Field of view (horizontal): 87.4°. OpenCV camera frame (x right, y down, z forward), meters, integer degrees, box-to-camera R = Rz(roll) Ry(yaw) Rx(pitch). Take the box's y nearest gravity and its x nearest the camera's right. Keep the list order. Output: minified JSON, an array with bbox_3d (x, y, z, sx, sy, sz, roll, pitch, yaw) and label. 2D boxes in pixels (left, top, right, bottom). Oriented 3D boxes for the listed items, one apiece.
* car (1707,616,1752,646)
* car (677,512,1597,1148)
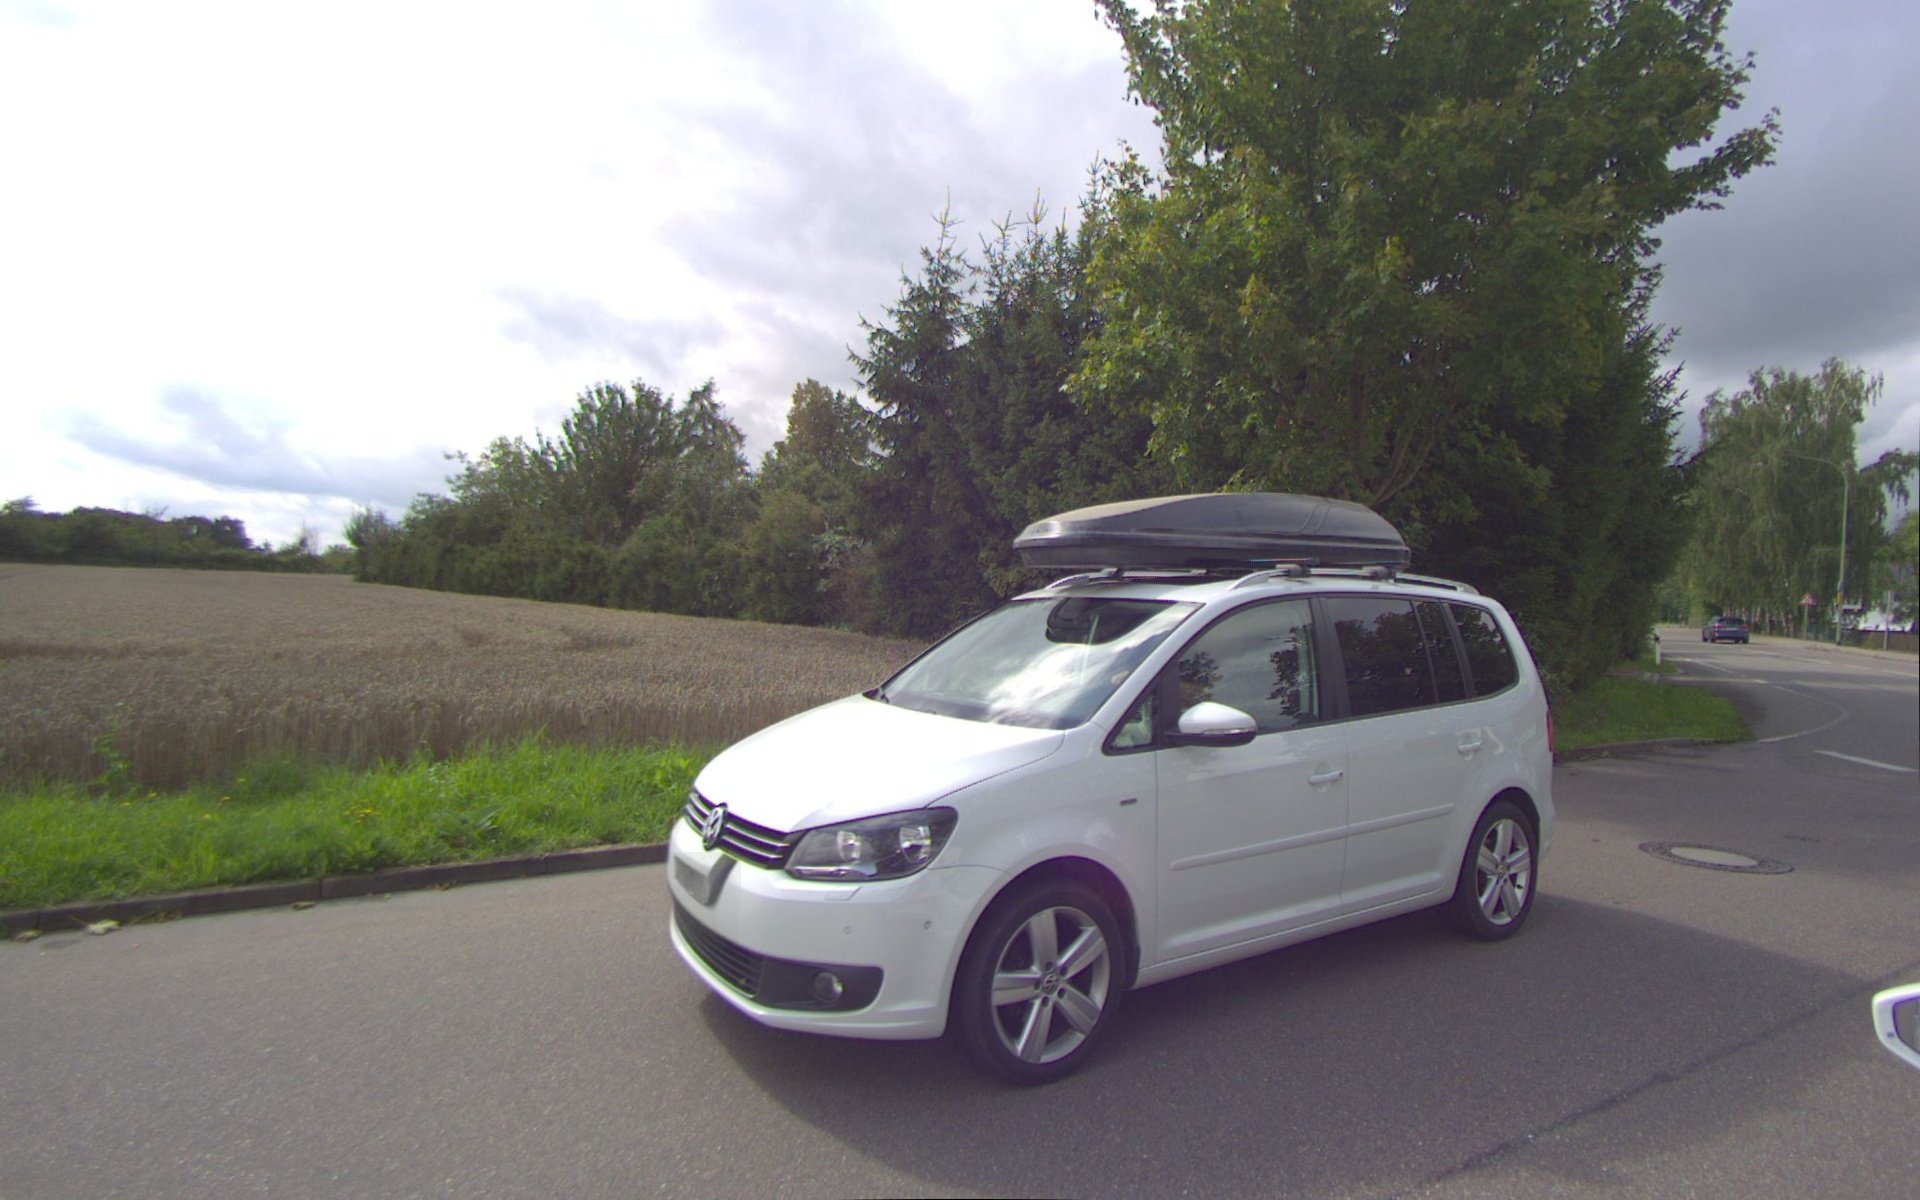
[{"bbox_3d":[45.873,1.829,59.946,1.968,1.573,3.985,3,1,36],"label":"car"},{"bbox_3d":[0.978,0.653,4.490,3.990,1.687,1.688,2,0,-34],"label":"car"}]
